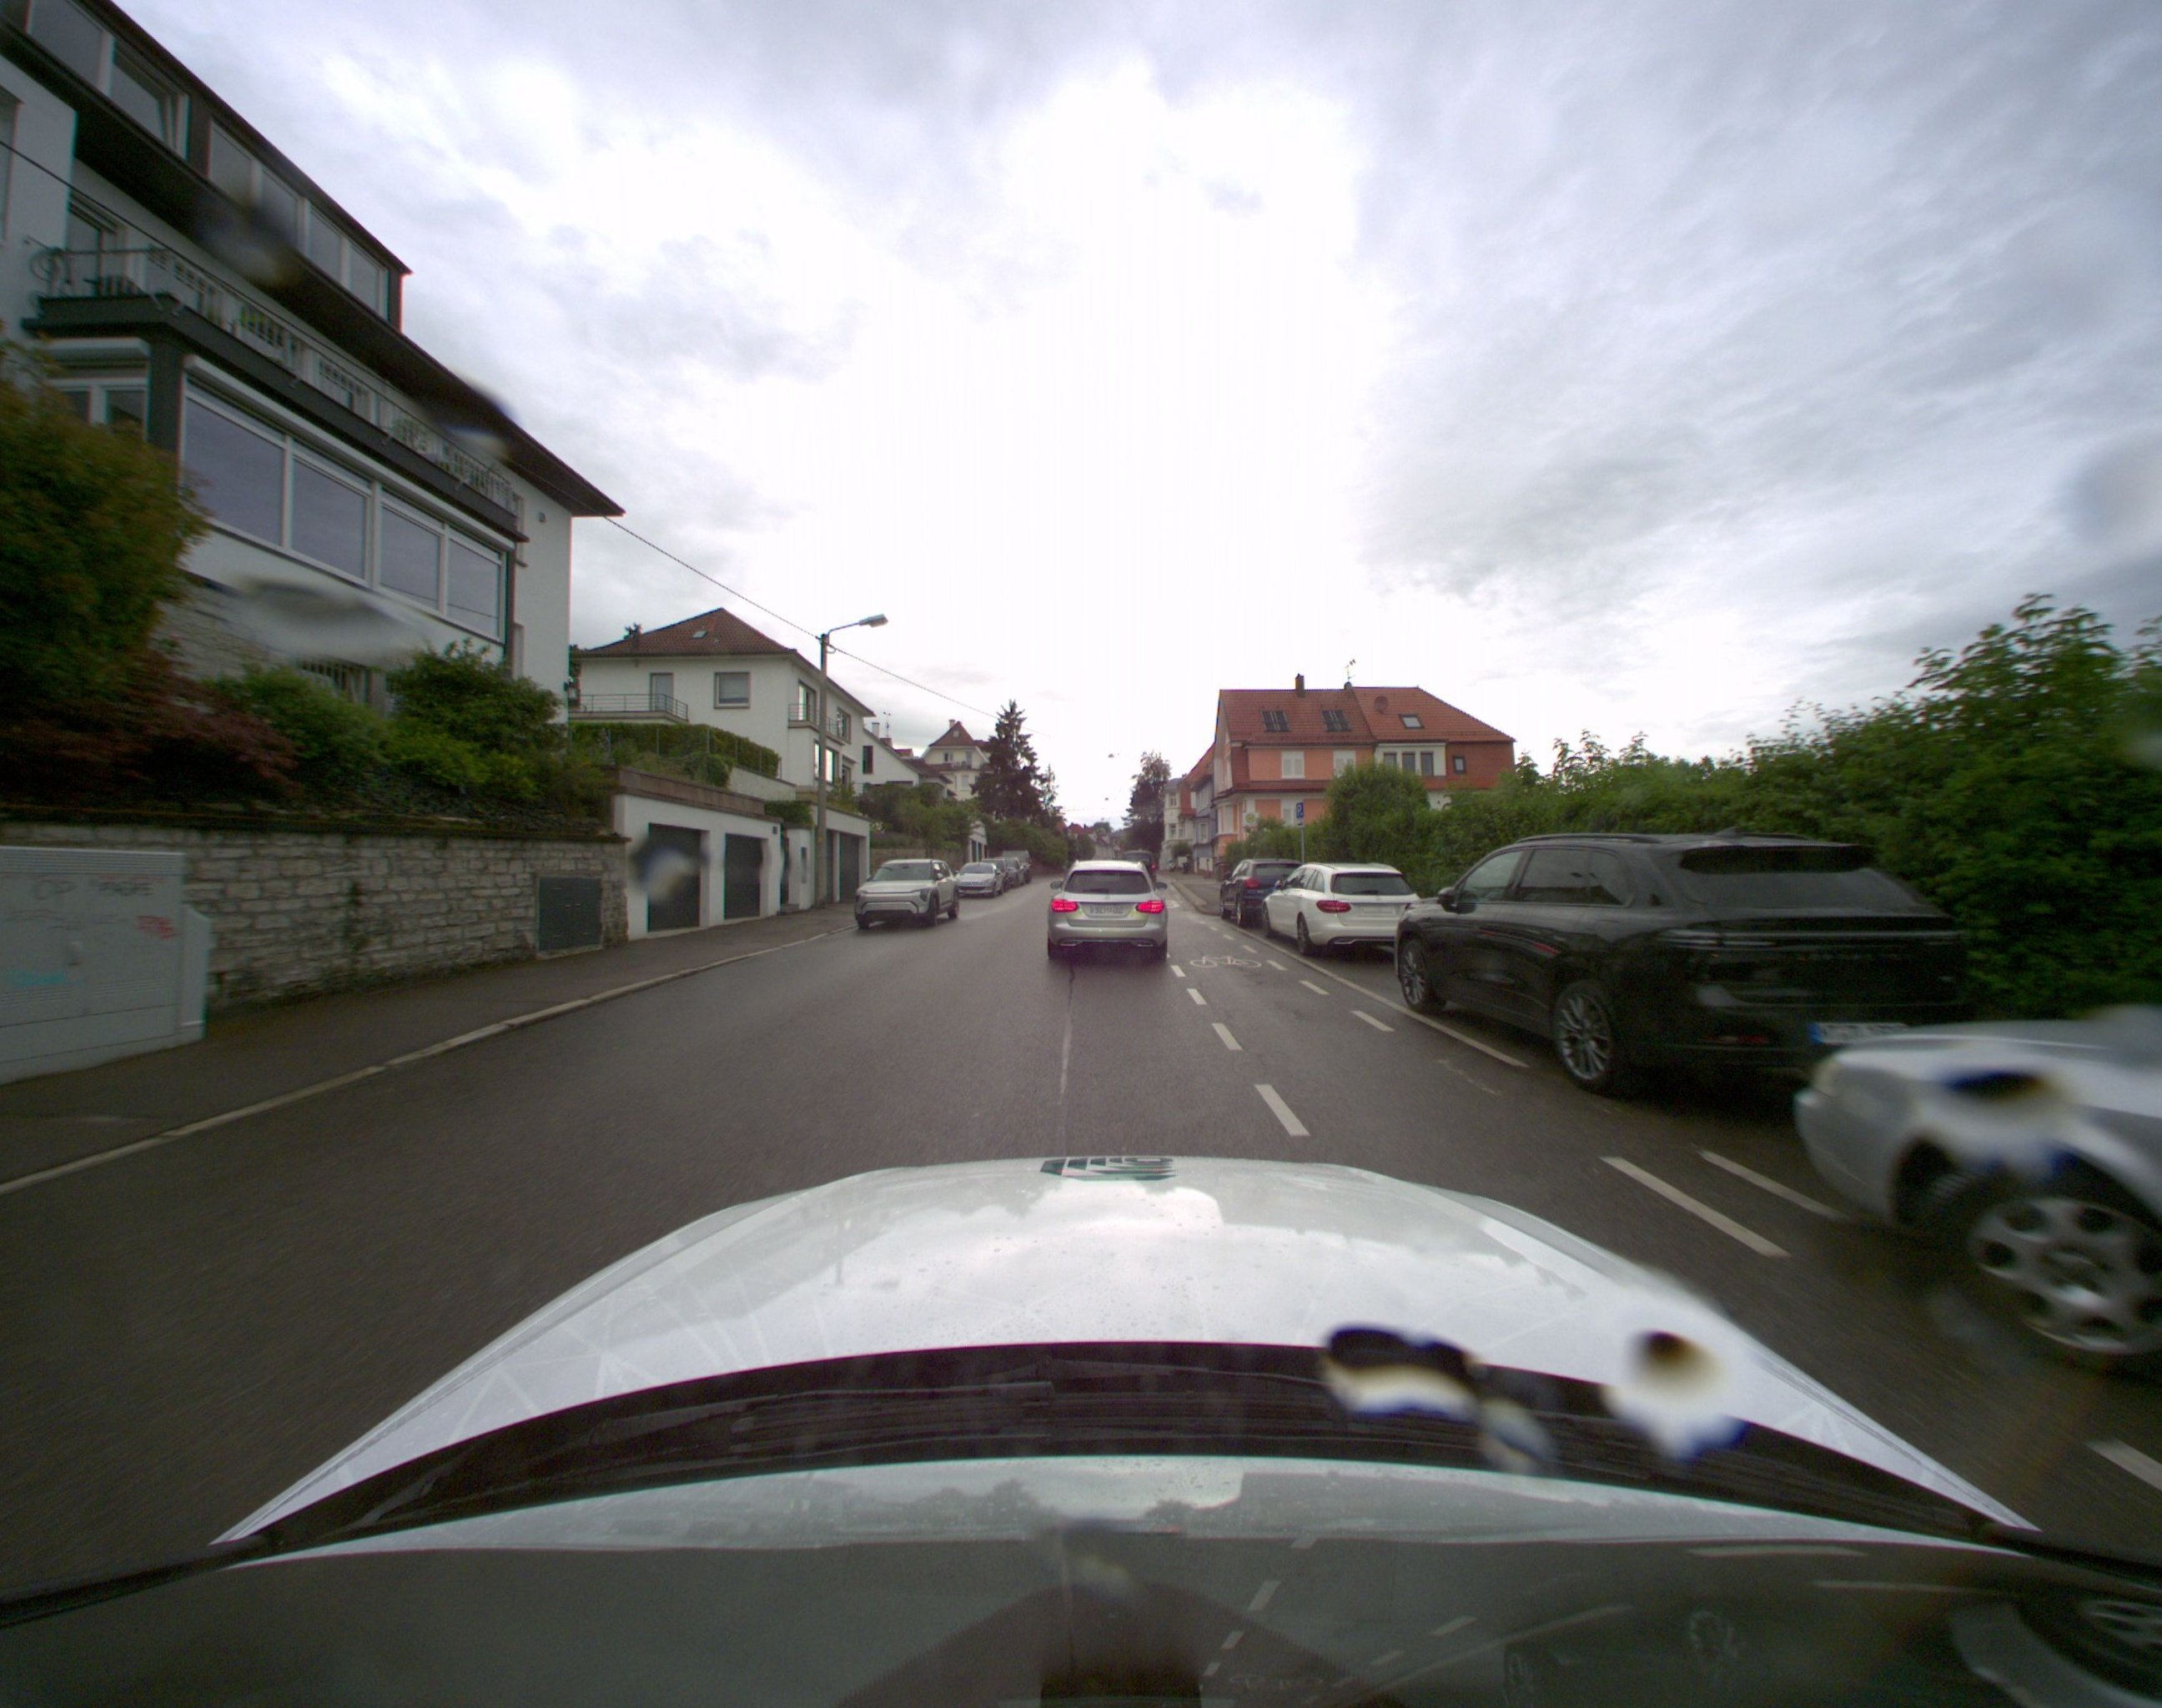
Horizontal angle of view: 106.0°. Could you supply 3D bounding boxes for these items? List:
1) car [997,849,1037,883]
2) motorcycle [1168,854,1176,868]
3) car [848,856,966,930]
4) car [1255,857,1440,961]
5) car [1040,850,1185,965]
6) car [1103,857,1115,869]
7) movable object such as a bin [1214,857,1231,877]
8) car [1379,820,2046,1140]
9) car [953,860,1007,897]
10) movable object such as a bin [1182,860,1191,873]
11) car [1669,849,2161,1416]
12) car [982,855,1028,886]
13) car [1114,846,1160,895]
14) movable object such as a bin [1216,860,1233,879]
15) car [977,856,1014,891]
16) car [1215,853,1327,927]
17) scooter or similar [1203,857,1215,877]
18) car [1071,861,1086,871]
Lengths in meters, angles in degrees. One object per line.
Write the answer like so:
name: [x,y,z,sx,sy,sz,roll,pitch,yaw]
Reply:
car: [-3.778,0.667,48.729,2.124,1.860,5.589,-1,0,-2]
motorcycle: [8.173,0.625,73.001,0.579,1.261,2.334,-3,0,5]
car: [-4.252,0.898,20.589,1.891,1.567,4.239,-2,0,1]
car: [4.290,0.800,13.915,1.707,1.405,4.609,-1,0,1]
car: [0.538,0.724,13.318,1.974,1.553,4.301,-1,0,3]
car: [5.823,1.891,169.713,2.458,2.400,4.002,-5,0,2]
movable object such as a bin: [7.578,0.688,43.721,0.709,1.030,0.757,-3,0,0]
car: [4.168,0.652,6.570,1.881,1.662,4.548,-1,0,0]
car: [-4.070,0.947,33.391,1.603,1.337,3.842,-1,0,2]
movable object such as a bin: [8.208,0.950,63.292,0.547,0.936,0.634,-4,0,2]
car: [3.879,0.726,1.412,1.800,1.440,4.622,-1,0,-12]
car: [-3.919,0.835,42.713,1.891,1.515,4.344,0,0,2]
car: [2.548,0.692,36.913,1.816,1.882,4.100,-5,1,4]
movable object such as a bin: [7.383,0.788,41.774,0.573,0.969,0.663,0,0,-31]
car: [-3.945,0.887,38.040,1.493,1.524,3.156,-1,0,-3]
car: [4.380,0.769,19.400,1.748,1.530,4.206,-1,0,1]
scooter or similar: [8.081,0.822,51.389,0.688,1.224,1.303,-1,0,9]
car: [-0.361,1.796,122.504,2.110,1.471,4.017,-1,0,0]
